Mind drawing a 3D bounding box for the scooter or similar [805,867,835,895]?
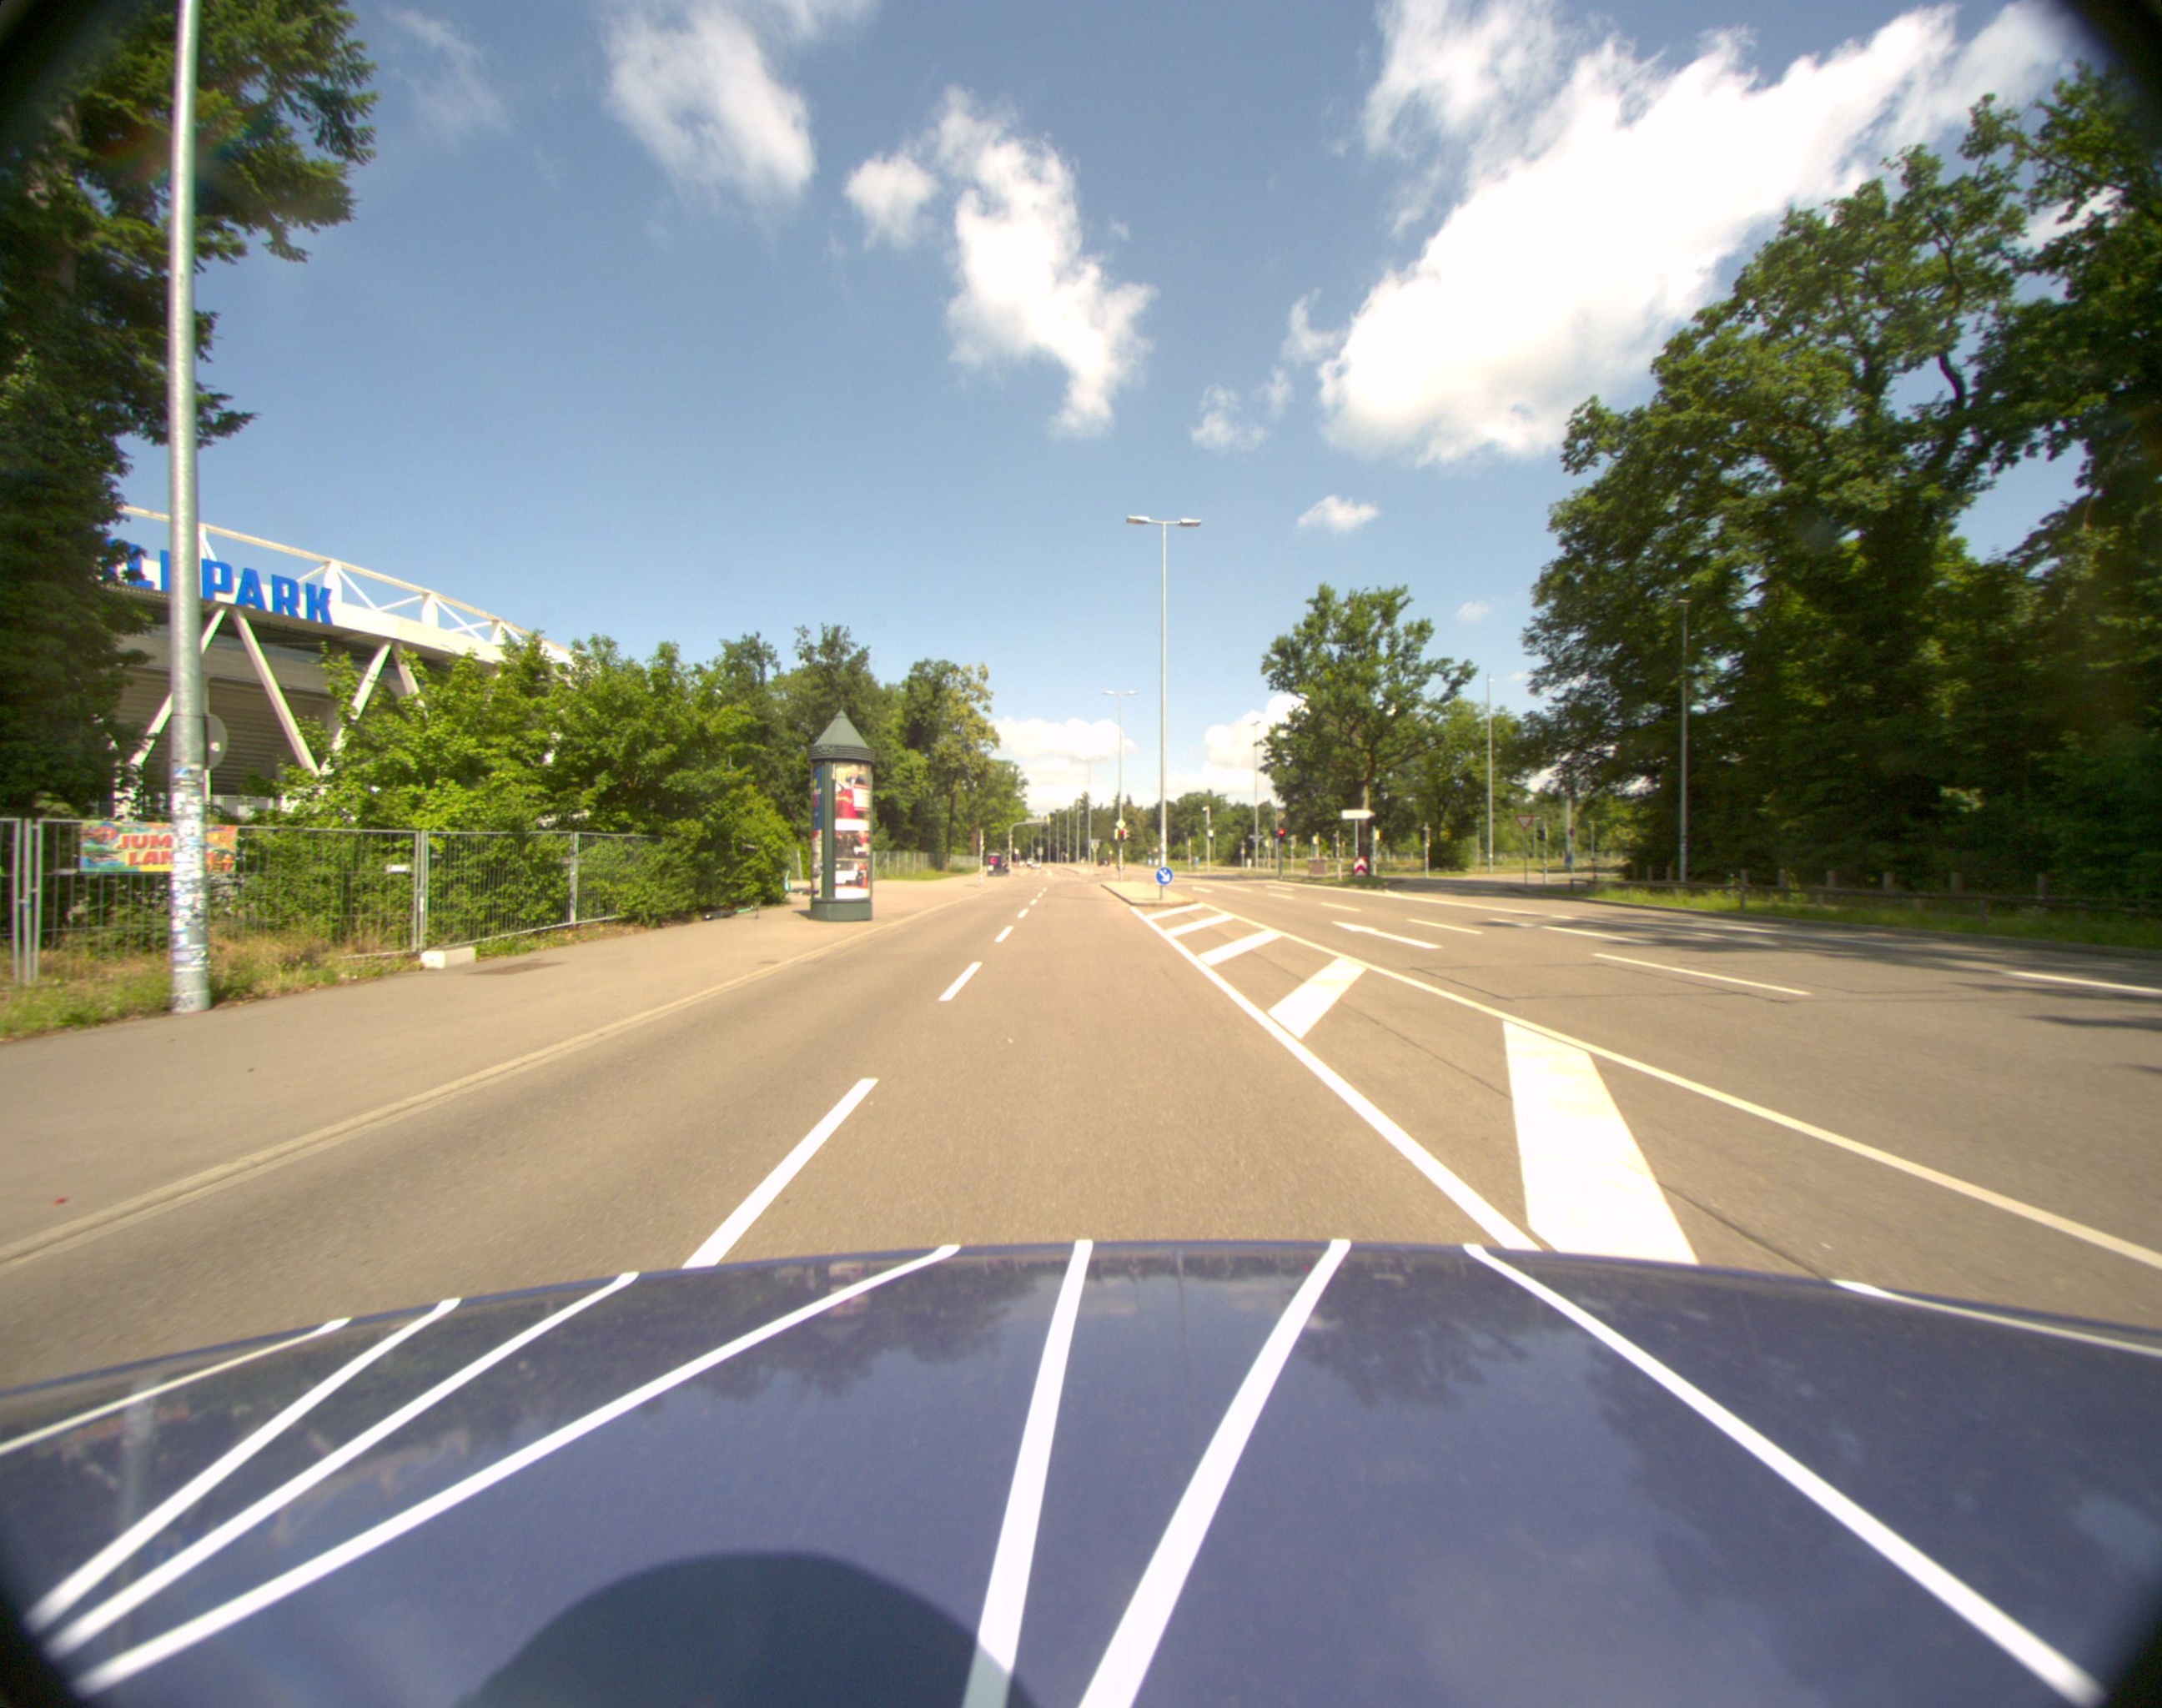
[{"bbox_3d":[-11.237,1.156,32.700,0.406,1.193,1.314,1,0,26],"label":"scooter or similar"}]

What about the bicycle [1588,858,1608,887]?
[{"bbox_3d":[22.015,0.771,32.376,0.420,1.166,1.231,-1,1,21],"label":"bicycle"}]

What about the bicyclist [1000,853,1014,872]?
[{"bbox_3d":[-6.909,0.815,71.215,0.980,1.787,0.885,-2,1,-36],"label":"bicyclist"}]

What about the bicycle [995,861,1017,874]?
[{"bbox_3d":[-7.014,1.237,71.127,1.901,1.199,0.881,-2,1,-37],"label":"bicycle"}]

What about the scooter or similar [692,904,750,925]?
[{"bbox_3d":[-9.318,1.558,19.734,0.855,0.386,1.473,1,1,-3],"label":"scooter or similar"}]

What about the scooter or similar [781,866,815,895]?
[{"bbox_3d":[-12.184,1.124,32.766,1.312,1.245,0.407,0,1,-8],"label":"scooter or similar"}]

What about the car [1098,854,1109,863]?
[{"bbox_3d":[4.552,0.920,152.495,1.980,1.754,4.707,-1,-1,-1],"label":"car"}]
